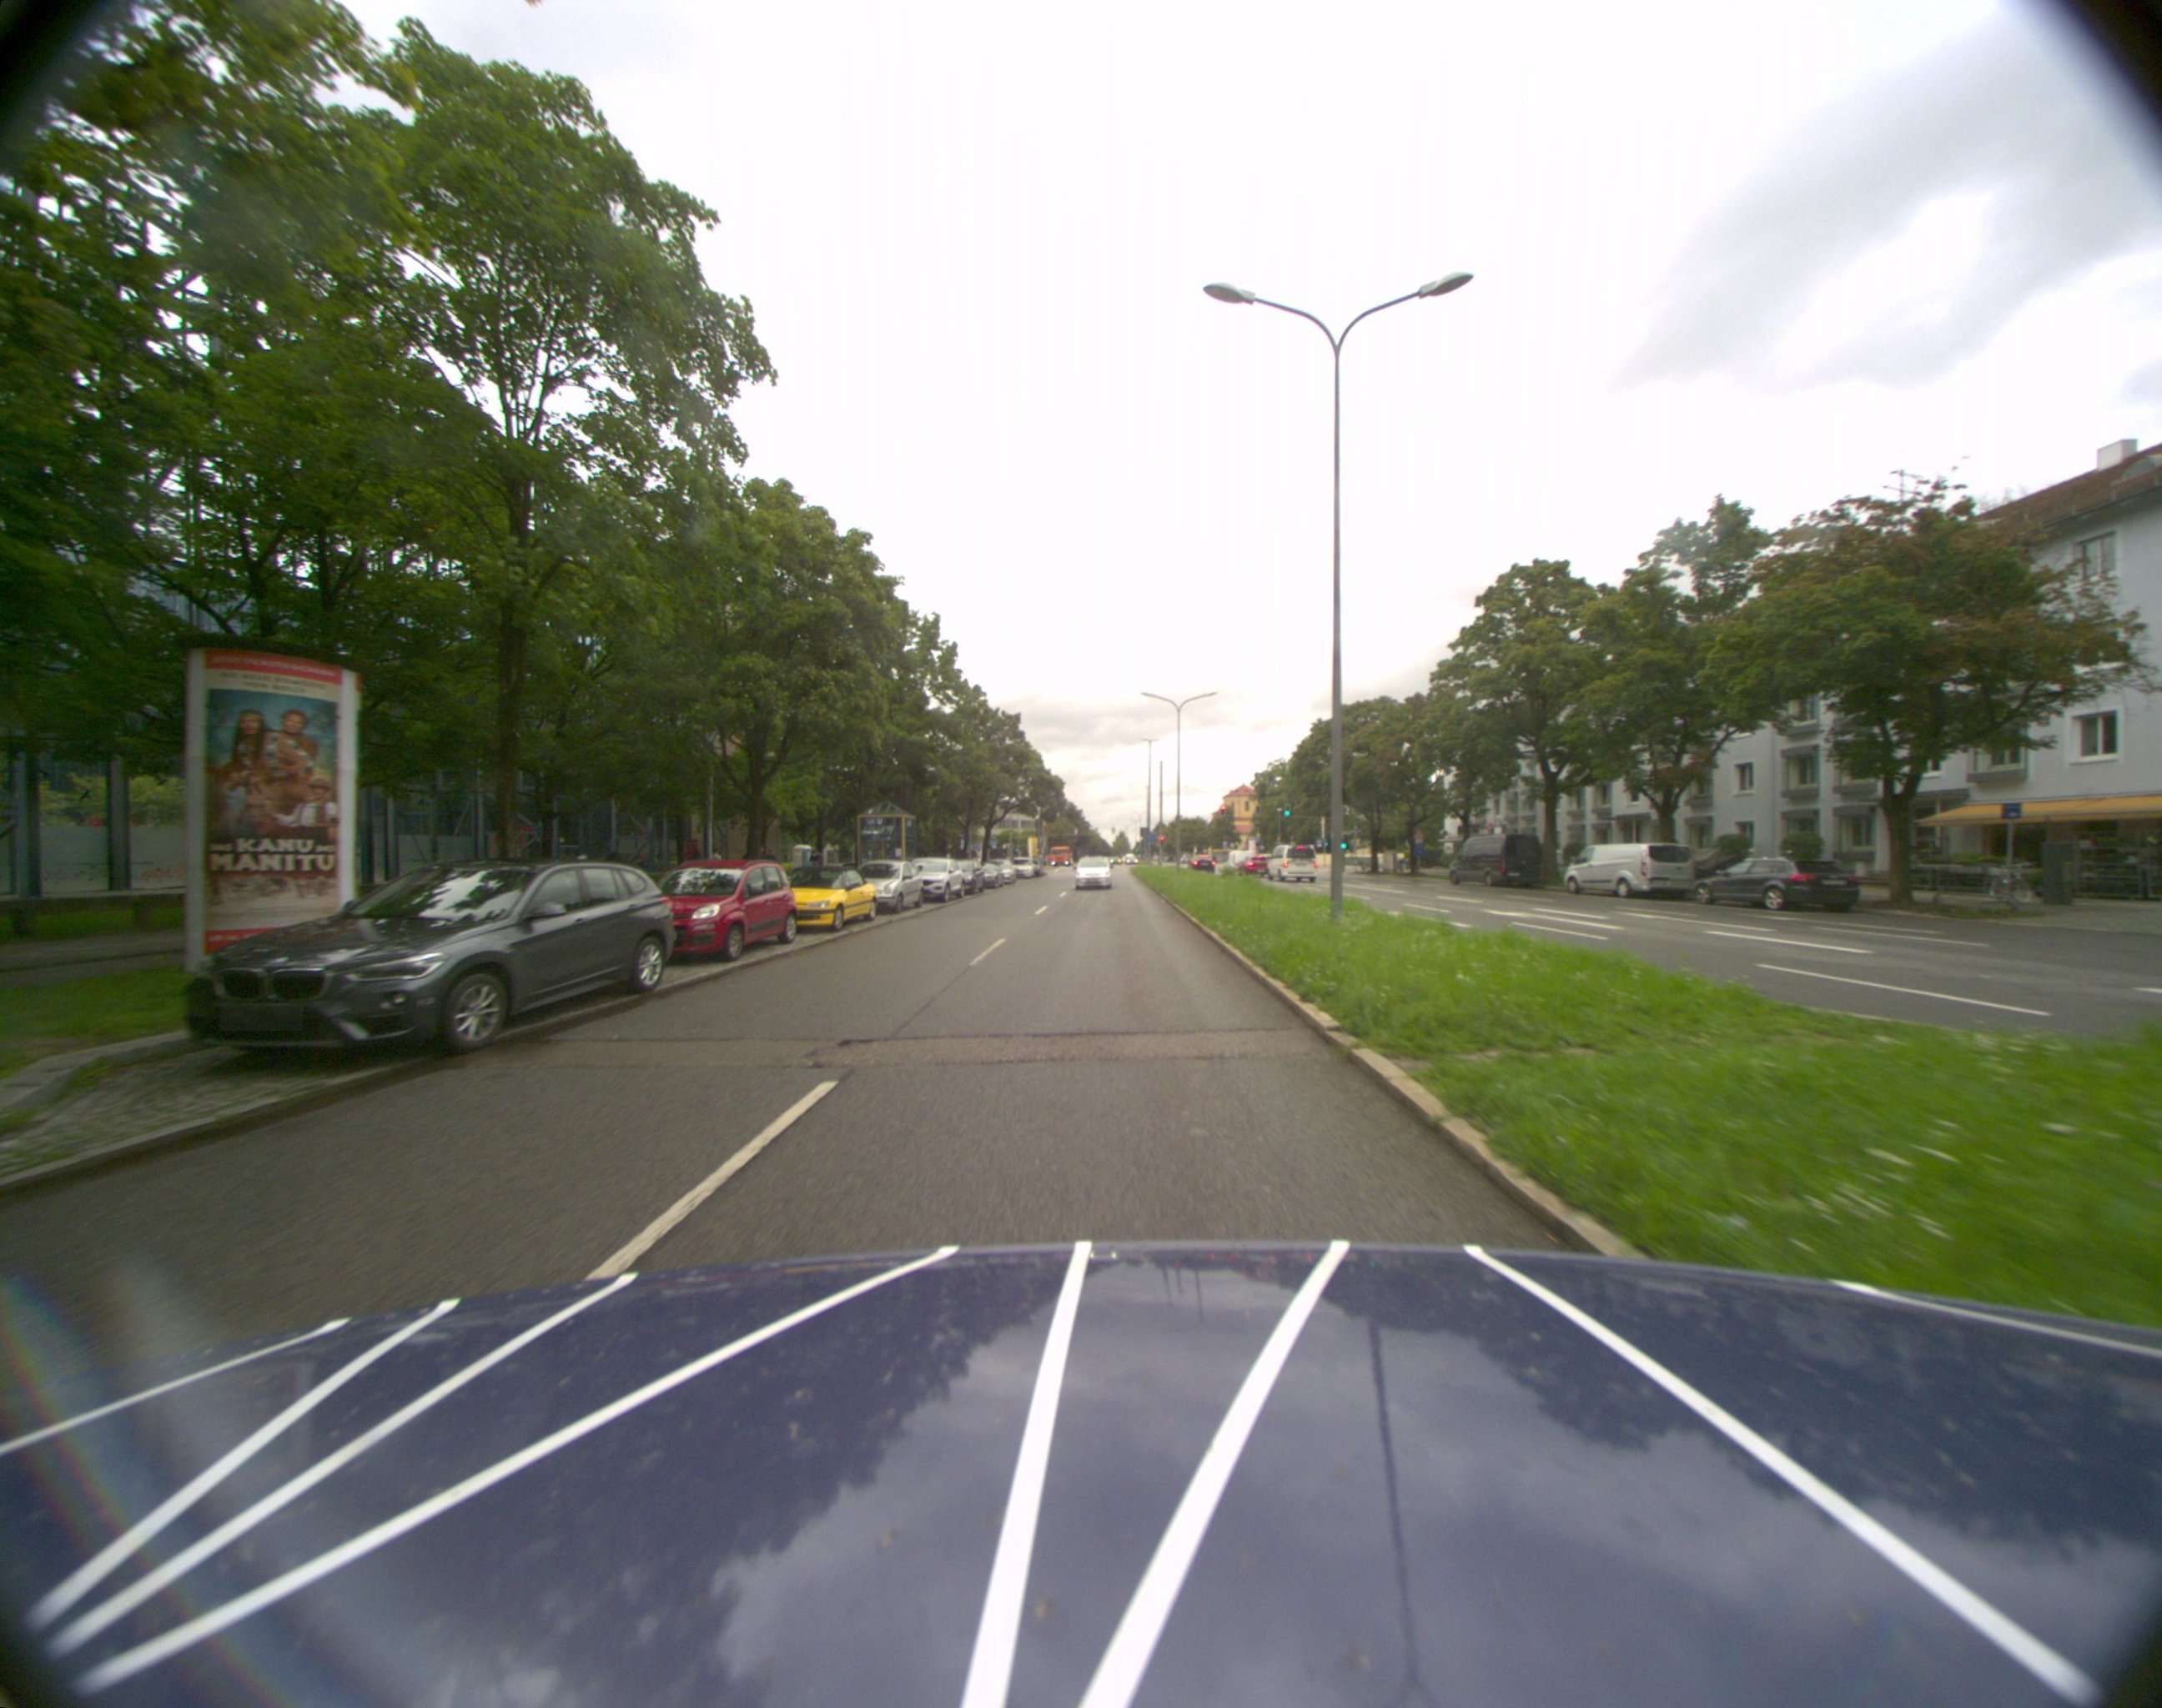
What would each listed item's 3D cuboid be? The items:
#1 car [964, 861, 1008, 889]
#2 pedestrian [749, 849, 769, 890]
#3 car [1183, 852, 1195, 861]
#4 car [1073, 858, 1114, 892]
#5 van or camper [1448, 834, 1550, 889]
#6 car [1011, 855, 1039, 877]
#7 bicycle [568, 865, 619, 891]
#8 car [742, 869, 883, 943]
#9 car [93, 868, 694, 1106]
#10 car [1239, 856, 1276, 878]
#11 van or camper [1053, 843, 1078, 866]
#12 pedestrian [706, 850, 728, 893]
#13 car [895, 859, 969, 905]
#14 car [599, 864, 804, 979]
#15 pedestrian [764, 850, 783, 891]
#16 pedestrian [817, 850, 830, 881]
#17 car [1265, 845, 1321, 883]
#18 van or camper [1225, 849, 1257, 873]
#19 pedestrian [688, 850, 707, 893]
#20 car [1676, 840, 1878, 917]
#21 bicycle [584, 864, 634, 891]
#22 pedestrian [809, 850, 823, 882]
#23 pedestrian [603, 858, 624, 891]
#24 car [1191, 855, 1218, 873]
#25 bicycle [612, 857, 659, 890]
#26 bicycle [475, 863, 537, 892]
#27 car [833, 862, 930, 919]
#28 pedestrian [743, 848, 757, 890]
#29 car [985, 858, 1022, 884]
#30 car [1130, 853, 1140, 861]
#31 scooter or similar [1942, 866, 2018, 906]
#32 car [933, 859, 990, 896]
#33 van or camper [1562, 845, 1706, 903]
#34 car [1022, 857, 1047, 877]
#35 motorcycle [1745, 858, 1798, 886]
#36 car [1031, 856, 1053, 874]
[{"bbox_3d":[-4.712,1.006,38.103,1.590,1.310,3.735,0,0,3],"label":"car"},{"bbox_3d":[-13.685,0.653,32.306,0.612,1.680,0.612,1,1,-2],"label":"pedestrian"},{"bbox_3d":[23.744,0.590,167.767,2.145,1.878,4.000,0,0,1],"label":"car"},{"bbox_3d":[0.613,0.897,34.033,1.679,1.433,3.735,0,0,3],"label":"car"},{"bbox_3d":[20.376,0.339,37.368,2.054,2.472,5.549,0,0,1],"label":"van or camper"},{"bbox_3d":[-4.026,0.861,55.185,1.590,1.495,3.735,0,0,3],"label":"car"},{"bbox_3d":[-18.379,0.883,28.706,0.512,0.935,2.142,0,0,1],"label":"bicycle"},{"bbox_3d":[-5.829,1.064,17.043,1.627,1.373,4.194,0,0,1],"label":"car"},{"bbox_3d":[-5.990,0.975,7.631,1.865,1.581,4.602,0,0,0],"label":"car"},{"bbox_3d":[11.841,0.834,51.214,1.795,1.440,3.672,0,0,3],"label":"car"},{"bbox_3d":[-2.438,-0.002,122.059,3.321,3.533,10.898,0,0,3],"label":"van or camper"},{"bbox_3d":[-14.037,0.667,29.315,0.612,1.632,0.434,1,1,0],"label":"pedestrian"},{"bbox_3d":[-5.283,0.949,27.409,1.682,1.522,4.096,0,0,3],"label":"car"},{"bbox_3d":[-5.974,0.971,12.457,1.555,1.564,3.624,0,0,0],"label":"car"},{"bbox_3d":[-13.082,0.679,32.306,0.528,1.713,0.660,1,1,-2],"label":"pedestrian"},{"bbox_3d":[-14.561,0.646,42.909,0.528,1.713,0.559,1,1,-2],"label":"pedestrian"},{"bbox_3d":[11.635,0.519,42.001,1.944,1.986,4.705,0,0,3],"label":"car"},{"bbox_3d":[12.488,0.530,59.475,1.795,1.787,4.125,0,0,3],"label":"van or camper"},{"bbox_3d":[-14.753,0.658,29.228,0.507,1.619,0.426,1,1,-2],"label":"pedestrian"},{"bbox_3d":[19.696,0.630,21.839,1.801,1.986,4.547,0,0,3],"label":"car"},{"bbox_3d":[-17.845,0.877,28.775,0.512,0.935,2.142,0,0,1],"label":"bicycle"},{"bbox_3d":[-14.713,0.662,42.195,0.528,1.713,0.559,1,1,-2],"label":"pedestrian"},{"bbox_3d":[-17.383,0.755,28.250,0.506,1.172,0.426,1,1,2],"label":"pedestrian"},{"bbox_3d":[10.018,0.770,61.646,1.761,1.440,3.672,0,0,3],"label":"car"},{"bbox_3d":[-16.912,0.720,28.909,0.512,1.185,2.141,0,1,1],"label":"bicycle"},{"bbox_3d":[-20.369,0.823,26.970,0.571,0.935,2.064,0,1,1],"label":"bicycle"},{"bbox_3d":[-5.663,0.983,22.042,1.626,1.466,3.896,0,0,3],"label":"car"},{"bbox_3d":[-13.440,0.595,30.836,0.433,1.680,0.349,0,1,-2],"label":"pedestrian"},{"bbox_3d":[-4.421,0.941,43.731,1.590,1.395,3.735,0,0,3],"label":"car"},{"bbox_3d":[9.108,0.540,127.604,1.590,1.259,3.735,0,0,3],"label":"car"},{"bbox_3d":[24.674,0.873,20.862,1.800,1.007,0.569,-2,1,-13],"label":"scooter or similar"},{"bbox_3d":[-5.053,0.957,32.600,1.682,1.497,3.735,0,0,3],"label":"car"},{"bbox_3d":[20.042,0.659,27.866,2.025,1.930,4.705,0,0,3],"label":"van or camper"},{"bbox_3d":[-3.656,1.007,60.368,1.590,1.495,3.735,0,0,3],"label":"car"},{"bbox_3d":[28.419,0.729,31.278,1.813,1.164,0.464,0,1,-2],"label":"motorcycle"},{"bbox_3d":[-3.369,0.935,66.352,1.590,1.495,3.735,0,0,3],"label":"car"}]
